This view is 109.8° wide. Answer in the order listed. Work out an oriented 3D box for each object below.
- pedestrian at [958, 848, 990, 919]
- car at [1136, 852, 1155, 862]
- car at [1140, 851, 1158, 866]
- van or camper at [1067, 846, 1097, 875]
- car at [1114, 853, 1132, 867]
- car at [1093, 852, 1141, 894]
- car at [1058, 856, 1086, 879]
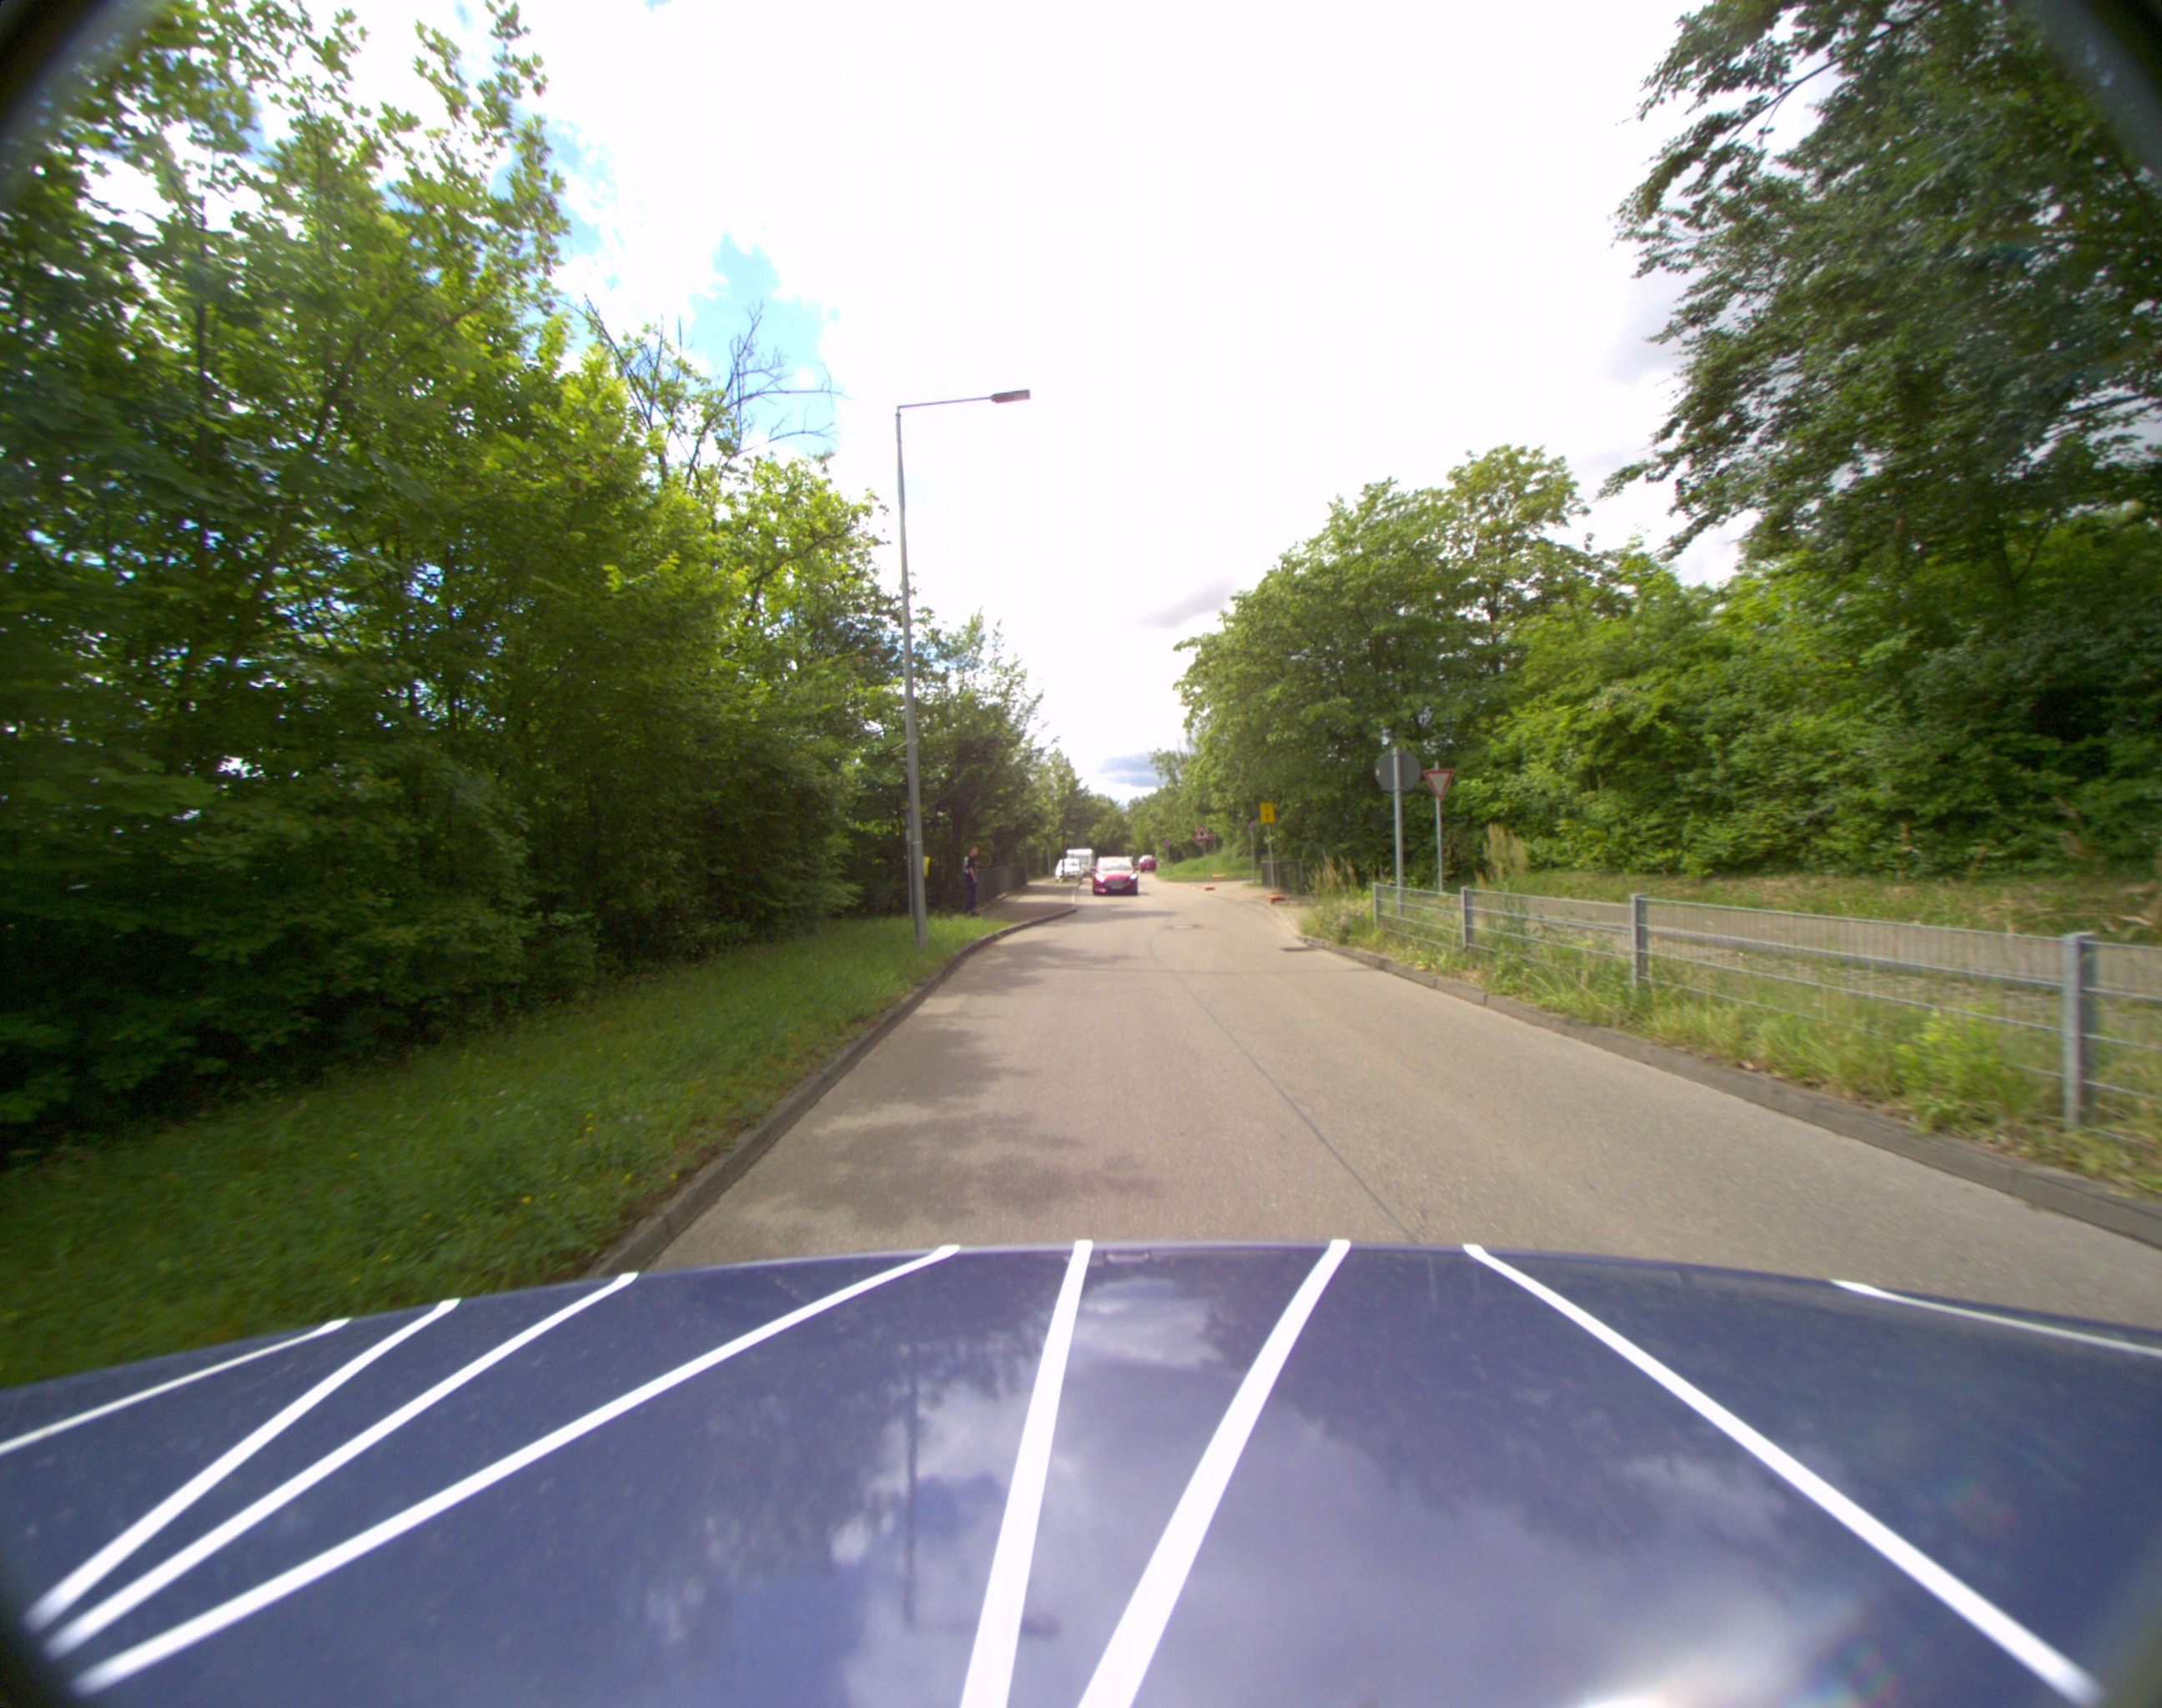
[{"bbox_3d":[-2.741,0.735,19.483,0.683,1.773,0.588,-2,1,-16],"label":"pedestrian"},{"bbox_3d":[10.357,0.467,121.160,1.864,1.469,4.908,1,2,19],"label":"car"},{"bbox_3d":[8.199,0.539,91.872,1.846,1.649,4.225,-1,0,9],"label":"car"},{"bbox_3d":[0.174,0.565,68.605,2.360,2.539,5.076,0,0,4],"label":"van or camper"},{"bbox_3d":[4.786,0.683,86.048,1.795,1.500,4.114,2,1,6],"label":"car"},{"bbox_3d":[1.521,0.788,33.350,1.912,1.688,4.387,-1,0,0],"label":"car"},{"bbox_3d":[-0.647,0.966,56.100,1.809,1.590,4.373,0,0,2],"label":"car"}]
